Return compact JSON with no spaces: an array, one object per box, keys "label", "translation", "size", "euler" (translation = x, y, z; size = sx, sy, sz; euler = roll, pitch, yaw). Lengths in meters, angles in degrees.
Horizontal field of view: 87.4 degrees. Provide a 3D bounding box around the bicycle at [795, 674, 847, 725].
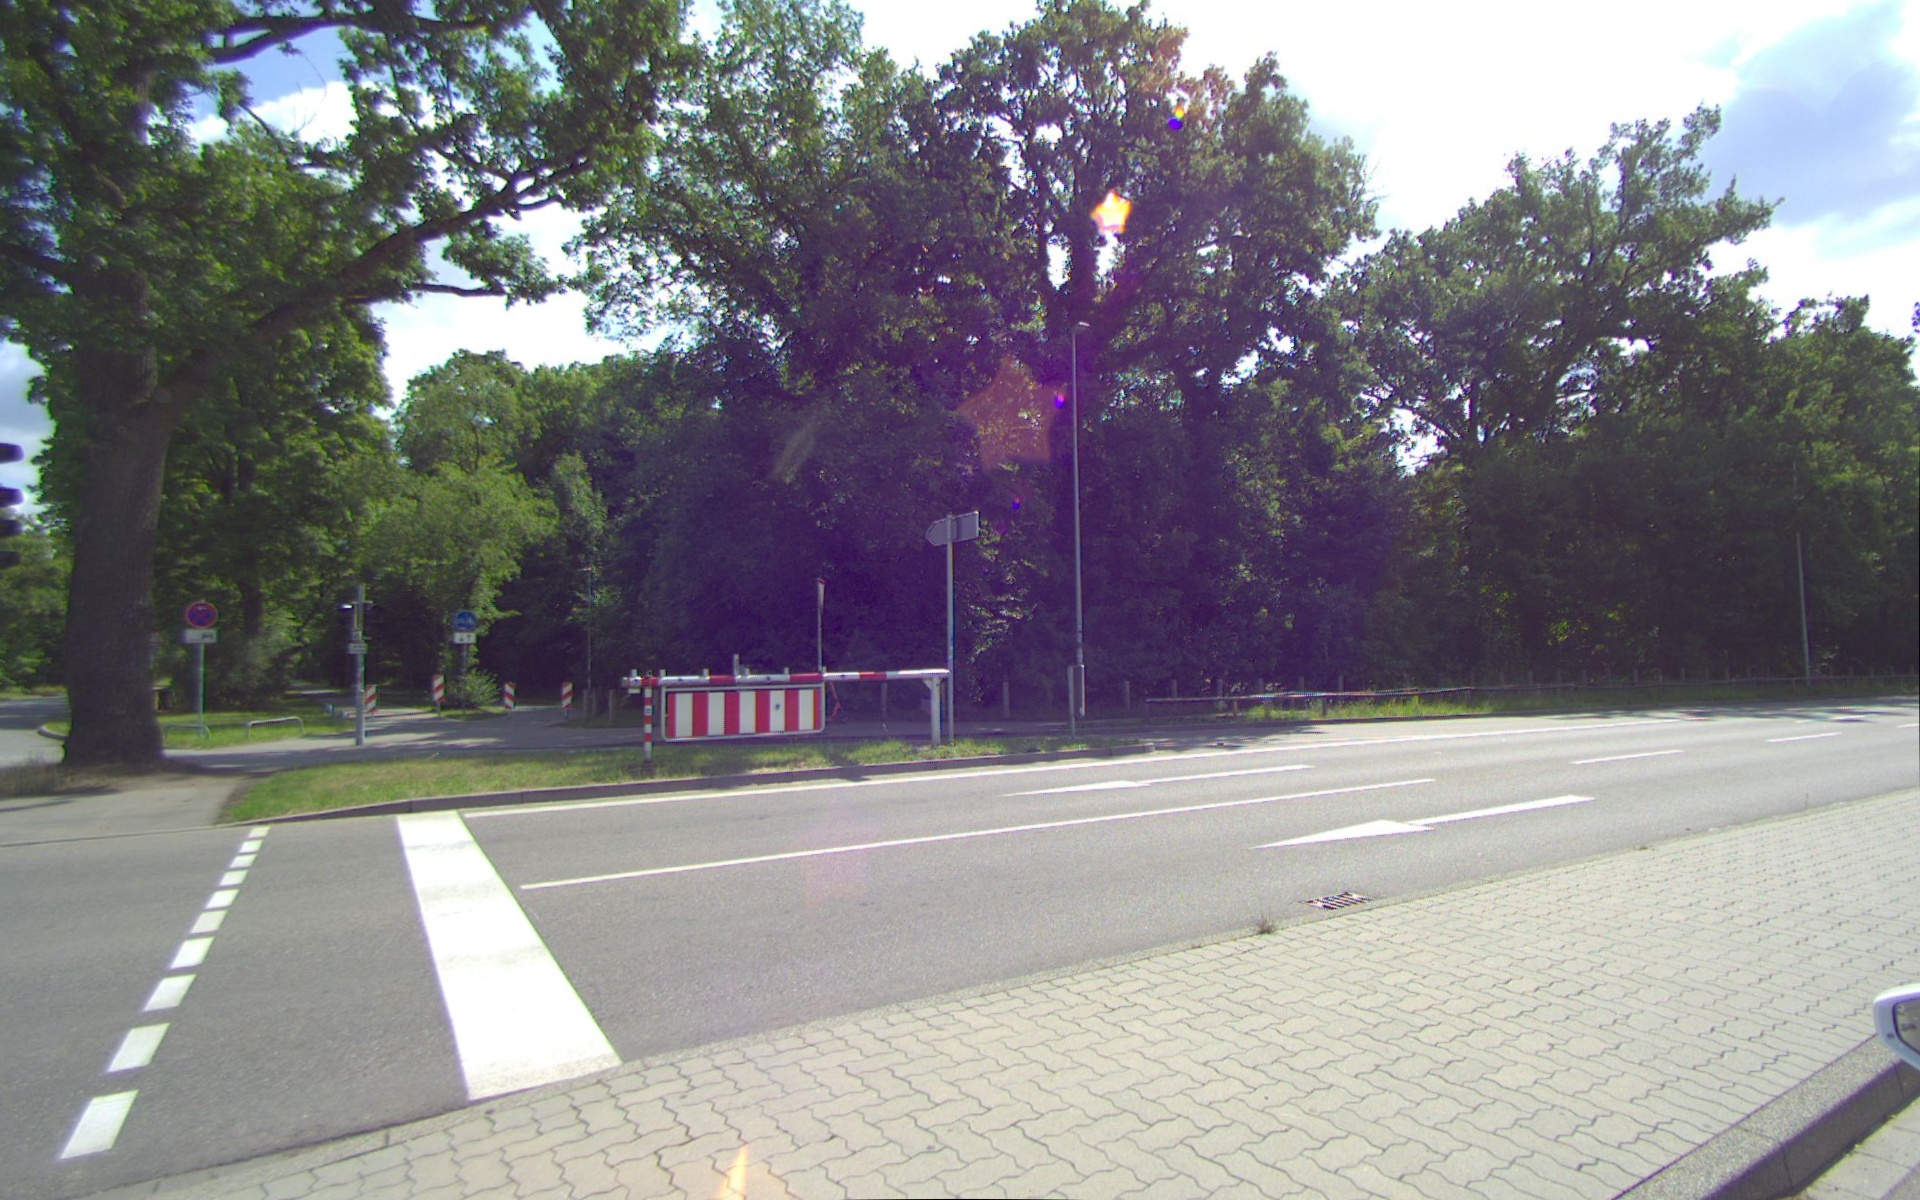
[{"label":"bicycle","translation":[-3.309,2.356,23.874],"size":[1.207,1.188,0.420],"euler":[1,-3,-11]}]
